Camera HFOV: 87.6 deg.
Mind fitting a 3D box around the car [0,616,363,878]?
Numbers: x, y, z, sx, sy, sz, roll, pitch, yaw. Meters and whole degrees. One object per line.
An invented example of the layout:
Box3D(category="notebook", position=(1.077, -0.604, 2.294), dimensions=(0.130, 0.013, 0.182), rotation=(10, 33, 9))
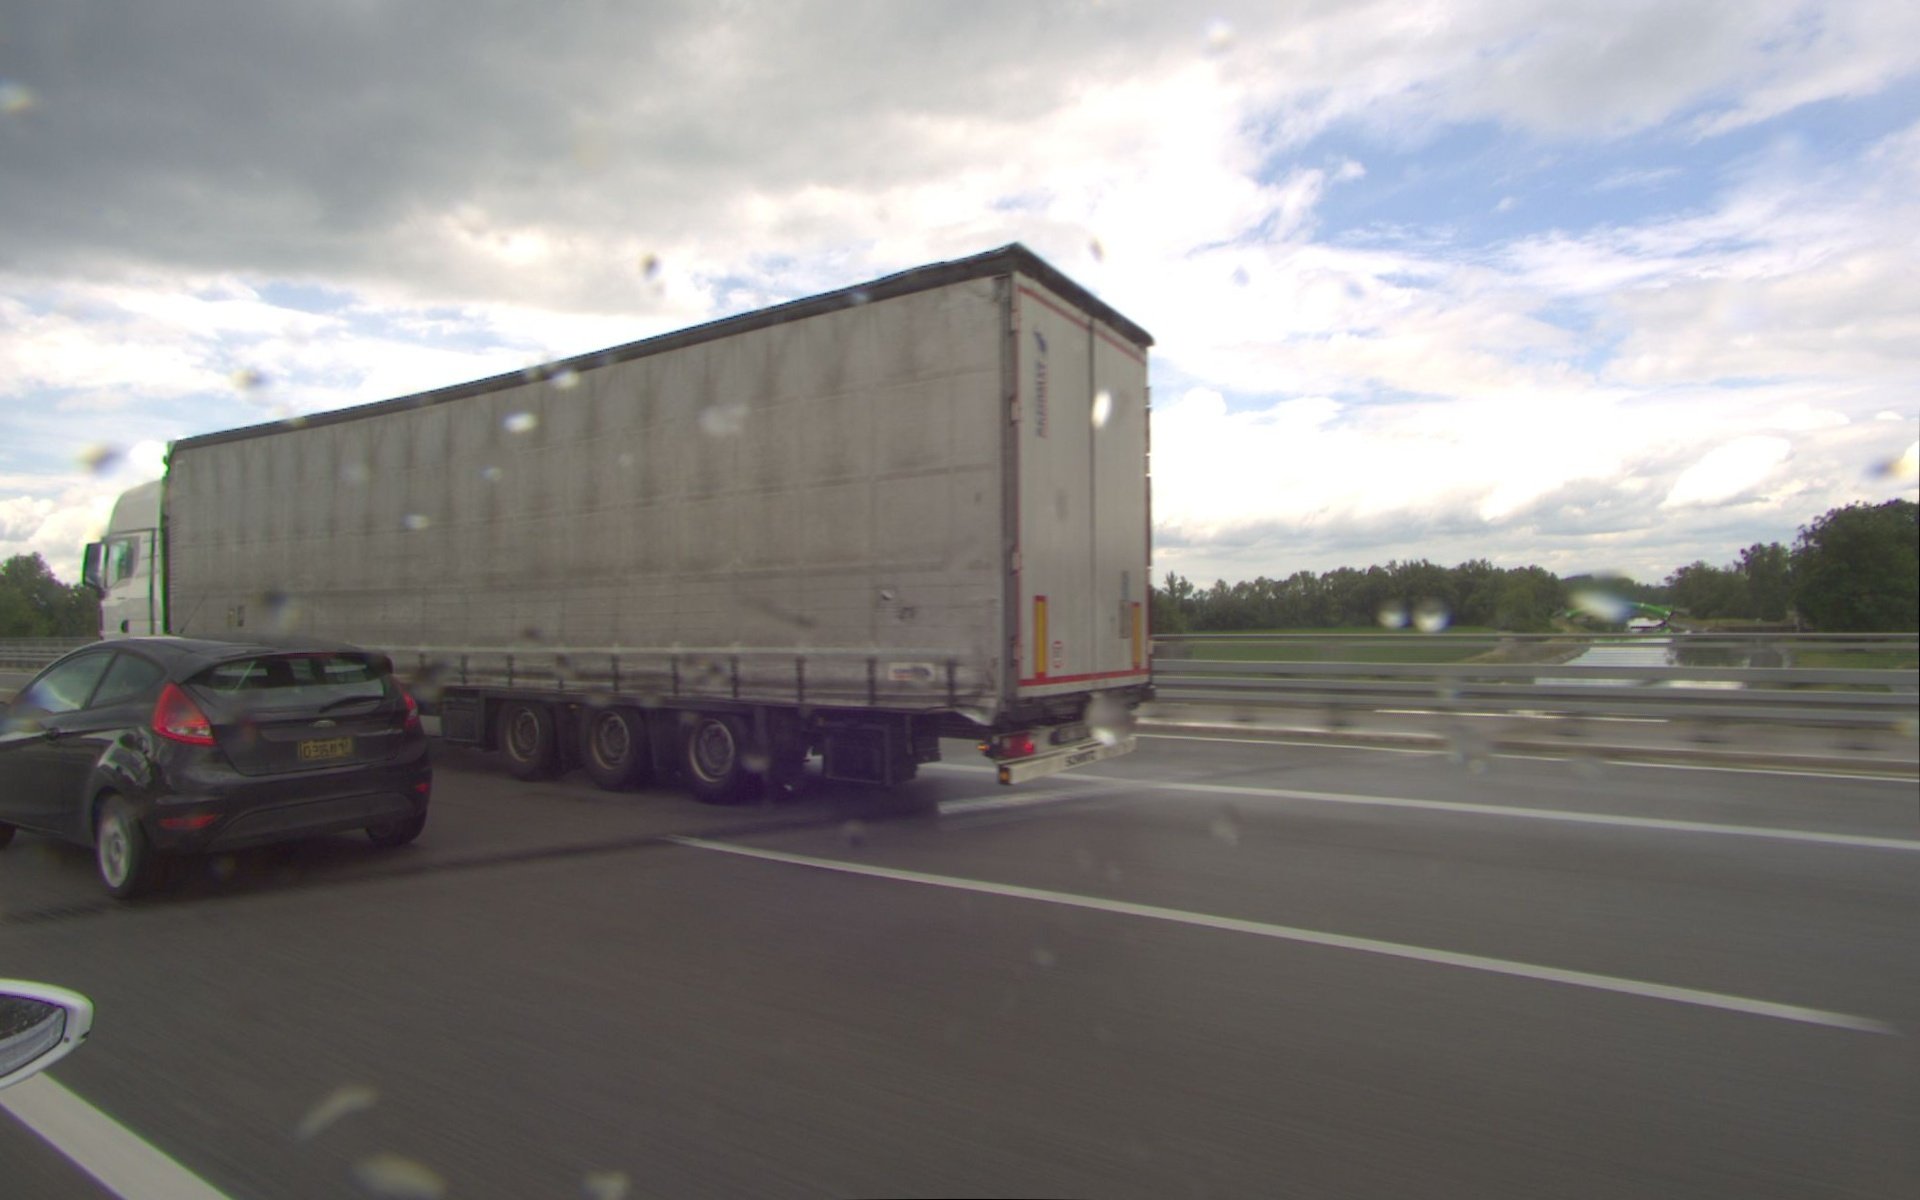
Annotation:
Box3D(category="car", position=(-5.767, 0.854, 7.038), dimensions=(3.118, 1.460, 1.444), rotation=(-1, -1, 32))

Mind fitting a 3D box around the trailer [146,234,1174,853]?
Box3D(category="trailer", position=(-4.714, -0.289, 11.560), dimensions=(13.914, 4.072, 2.956), rotation=(0, -1, 32))

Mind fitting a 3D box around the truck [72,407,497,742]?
Box3D(category="truck", position=(-10.322, -0.250, 15.151), dimensions=(6.493, 4.072, 2.956), rotation=(0, -1, 32))
